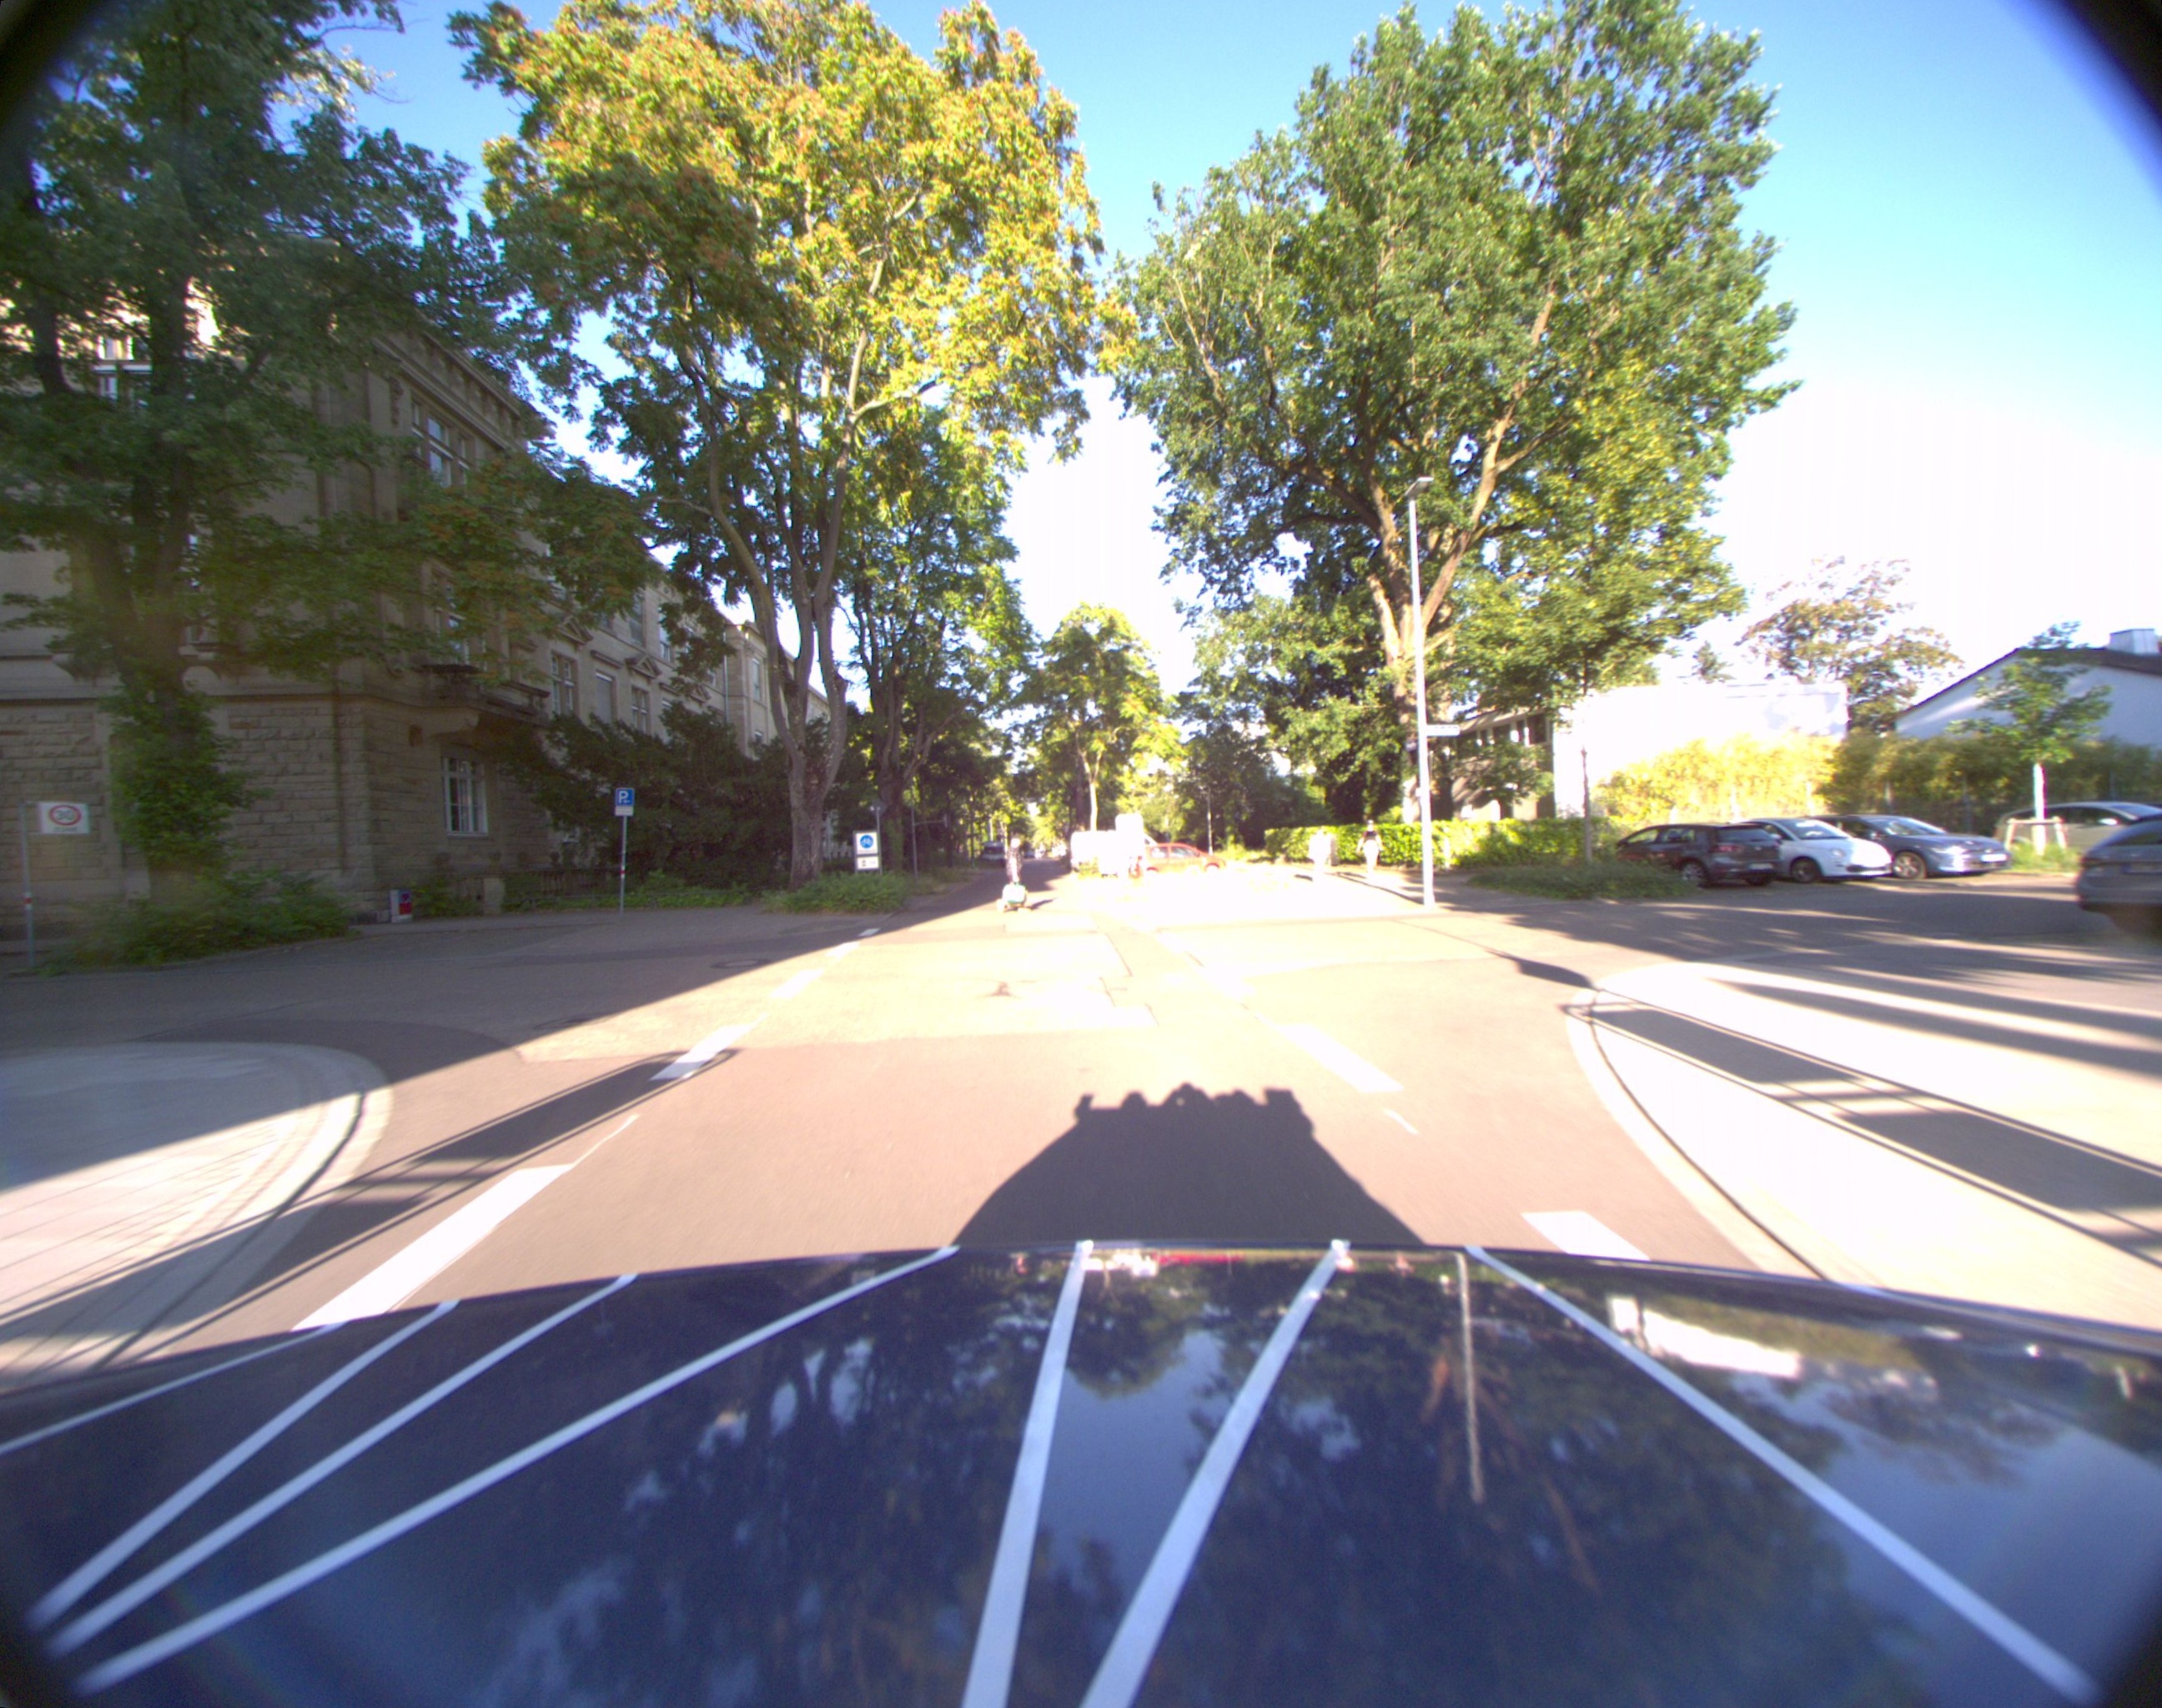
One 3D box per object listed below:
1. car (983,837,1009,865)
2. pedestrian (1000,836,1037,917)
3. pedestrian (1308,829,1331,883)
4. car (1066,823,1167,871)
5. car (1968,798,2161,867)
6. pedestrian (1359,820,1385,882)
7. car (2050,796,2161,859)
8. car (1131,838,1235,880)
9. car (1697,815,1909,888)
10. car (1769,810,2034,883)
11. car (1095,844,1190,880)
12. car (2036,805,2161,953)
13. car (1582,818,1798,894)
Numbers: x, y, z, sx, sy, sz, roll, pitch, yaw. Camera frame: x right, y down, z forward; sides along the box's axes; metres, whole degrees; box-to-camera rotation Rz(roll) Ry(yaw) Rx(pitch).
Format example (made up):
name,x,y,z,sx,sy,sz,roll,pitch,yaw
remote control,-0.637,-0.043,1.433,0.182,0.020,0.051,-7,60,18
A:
name,x,y,z,sx,sy,sz,roll,pitch,yaw
car,-8.151,-0.289,73.157,1.951,2.584,4.165,-3,1,-1
pedestrian,-1.519,0.524,18.356,0.615,1.907,0.721,-2,2,-27
pedestrian,7.128,0.060,22.718,0.435,1.572,0.666,-3,1,1
car,2.143,-0.438,47.237,5.909,2.685,2.219,-3,1,-6
car,25.133,-0.549,18.750,1.745,1.529,3.920,-3,2,-6
pedestrian,8.456,-0.079,22.111,0.435,1.765,0.666,-3,1,1
car,27.712,-0.683,19.018,1.745,1.529,3.920,-3,2,-6
car,3.925,0.177,29.583,3.679,1.412,1.717,-3,1,-6
car,16.720,-0.106,17.830,1.637,1.483,3.353,-3,2,-6
car,19.209,-0.233,18.112,1.810,1.449,4.097,-3,2,-2
car,2.789,0.349,35.088,4.058,1.412,1.717,-3,1,-6
car,13.803,0.158,8.238,4.836,1.549,1.867,-3,1,-4
car,14.084,0.022,17.913,1.645,1.507,3.998,-3,1,-5
